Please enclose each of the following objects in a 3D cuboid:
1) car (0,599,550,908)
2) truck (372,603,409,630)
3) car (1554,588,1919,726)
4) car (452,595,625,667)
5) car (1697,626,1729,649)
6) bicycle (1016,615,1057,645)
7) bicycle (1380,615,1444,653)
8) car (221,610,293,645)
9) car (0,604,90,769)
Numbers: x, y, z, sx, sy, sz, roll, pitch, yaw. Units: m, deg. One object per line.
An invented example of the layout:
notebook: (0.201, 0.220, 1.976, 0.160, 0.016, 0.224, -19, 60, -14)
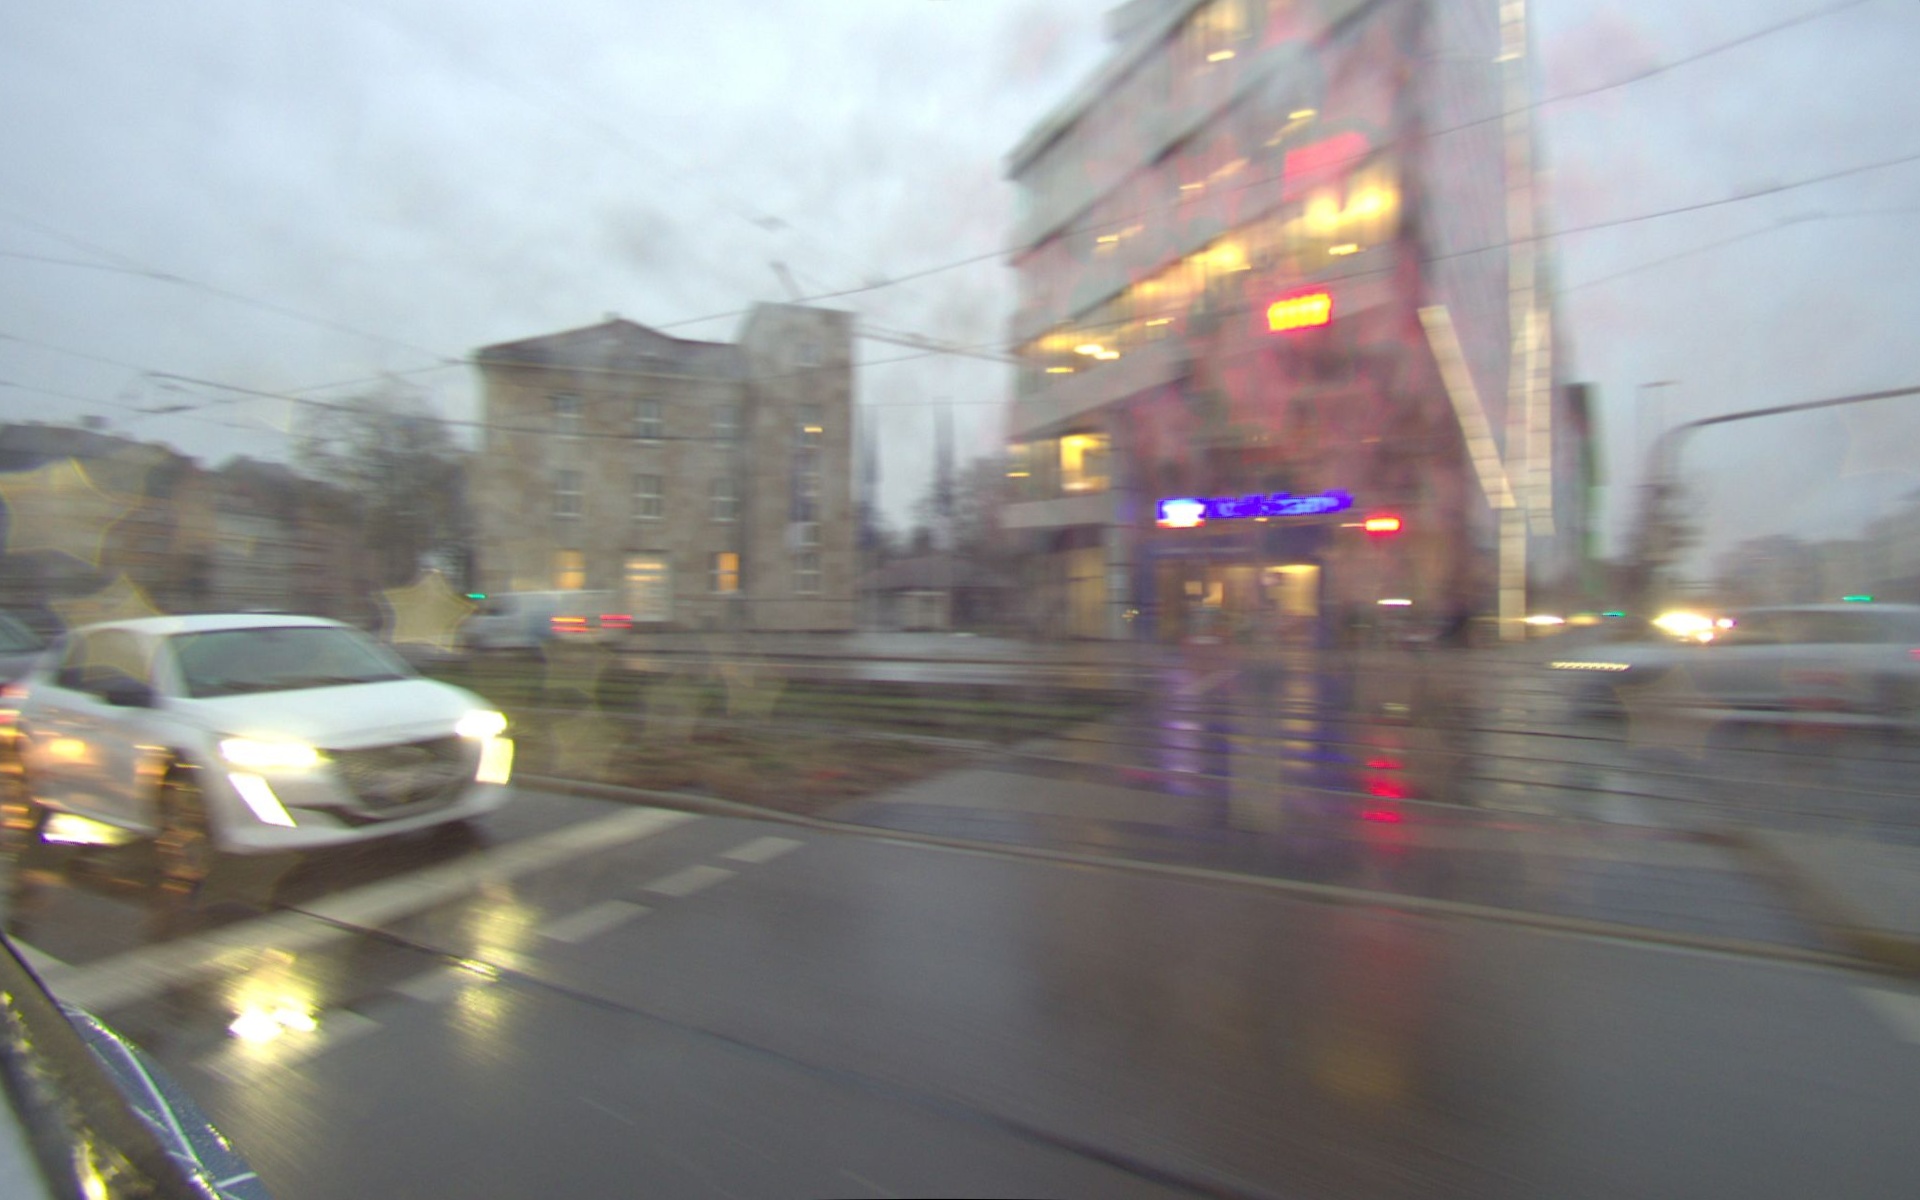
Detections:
car: (-4.731, 0.764, 6.668, 3.902, 1.474, 1.746, -1, 0, 30)
truck: (-44.689, 1.331, 79.519, 1.807, 2.060, 4.012, 0, -1, -18)
car: (10.048, 0.648, 12.563, 4.340, 1.497, 1.840, -1, -1, 42)
car: (-11.877, 0.854, 28.444, 4.942, 1.886, 1.886, -1, -1, 30)
car: (59.497, 2.932, 79.996, 1.829, 1.674, 3.954, -1, -1, 34)
bicycle: (2.912, 1.146, 38.566, 1.472, 1.136, 0.530, 0, -1, -18)
bicycle: (13.174, 0.993, 29.524, 1.597, 1.078, 0.635, -2, -2, 35)
car: (-29.580, 1.149, 42.522, 4.477, 1.397, 1.622, -1, -1, 44)
car: (-11.139, 0.849, 10.734, 4.350, 1.582, 1.806, -1, -1, 34)
